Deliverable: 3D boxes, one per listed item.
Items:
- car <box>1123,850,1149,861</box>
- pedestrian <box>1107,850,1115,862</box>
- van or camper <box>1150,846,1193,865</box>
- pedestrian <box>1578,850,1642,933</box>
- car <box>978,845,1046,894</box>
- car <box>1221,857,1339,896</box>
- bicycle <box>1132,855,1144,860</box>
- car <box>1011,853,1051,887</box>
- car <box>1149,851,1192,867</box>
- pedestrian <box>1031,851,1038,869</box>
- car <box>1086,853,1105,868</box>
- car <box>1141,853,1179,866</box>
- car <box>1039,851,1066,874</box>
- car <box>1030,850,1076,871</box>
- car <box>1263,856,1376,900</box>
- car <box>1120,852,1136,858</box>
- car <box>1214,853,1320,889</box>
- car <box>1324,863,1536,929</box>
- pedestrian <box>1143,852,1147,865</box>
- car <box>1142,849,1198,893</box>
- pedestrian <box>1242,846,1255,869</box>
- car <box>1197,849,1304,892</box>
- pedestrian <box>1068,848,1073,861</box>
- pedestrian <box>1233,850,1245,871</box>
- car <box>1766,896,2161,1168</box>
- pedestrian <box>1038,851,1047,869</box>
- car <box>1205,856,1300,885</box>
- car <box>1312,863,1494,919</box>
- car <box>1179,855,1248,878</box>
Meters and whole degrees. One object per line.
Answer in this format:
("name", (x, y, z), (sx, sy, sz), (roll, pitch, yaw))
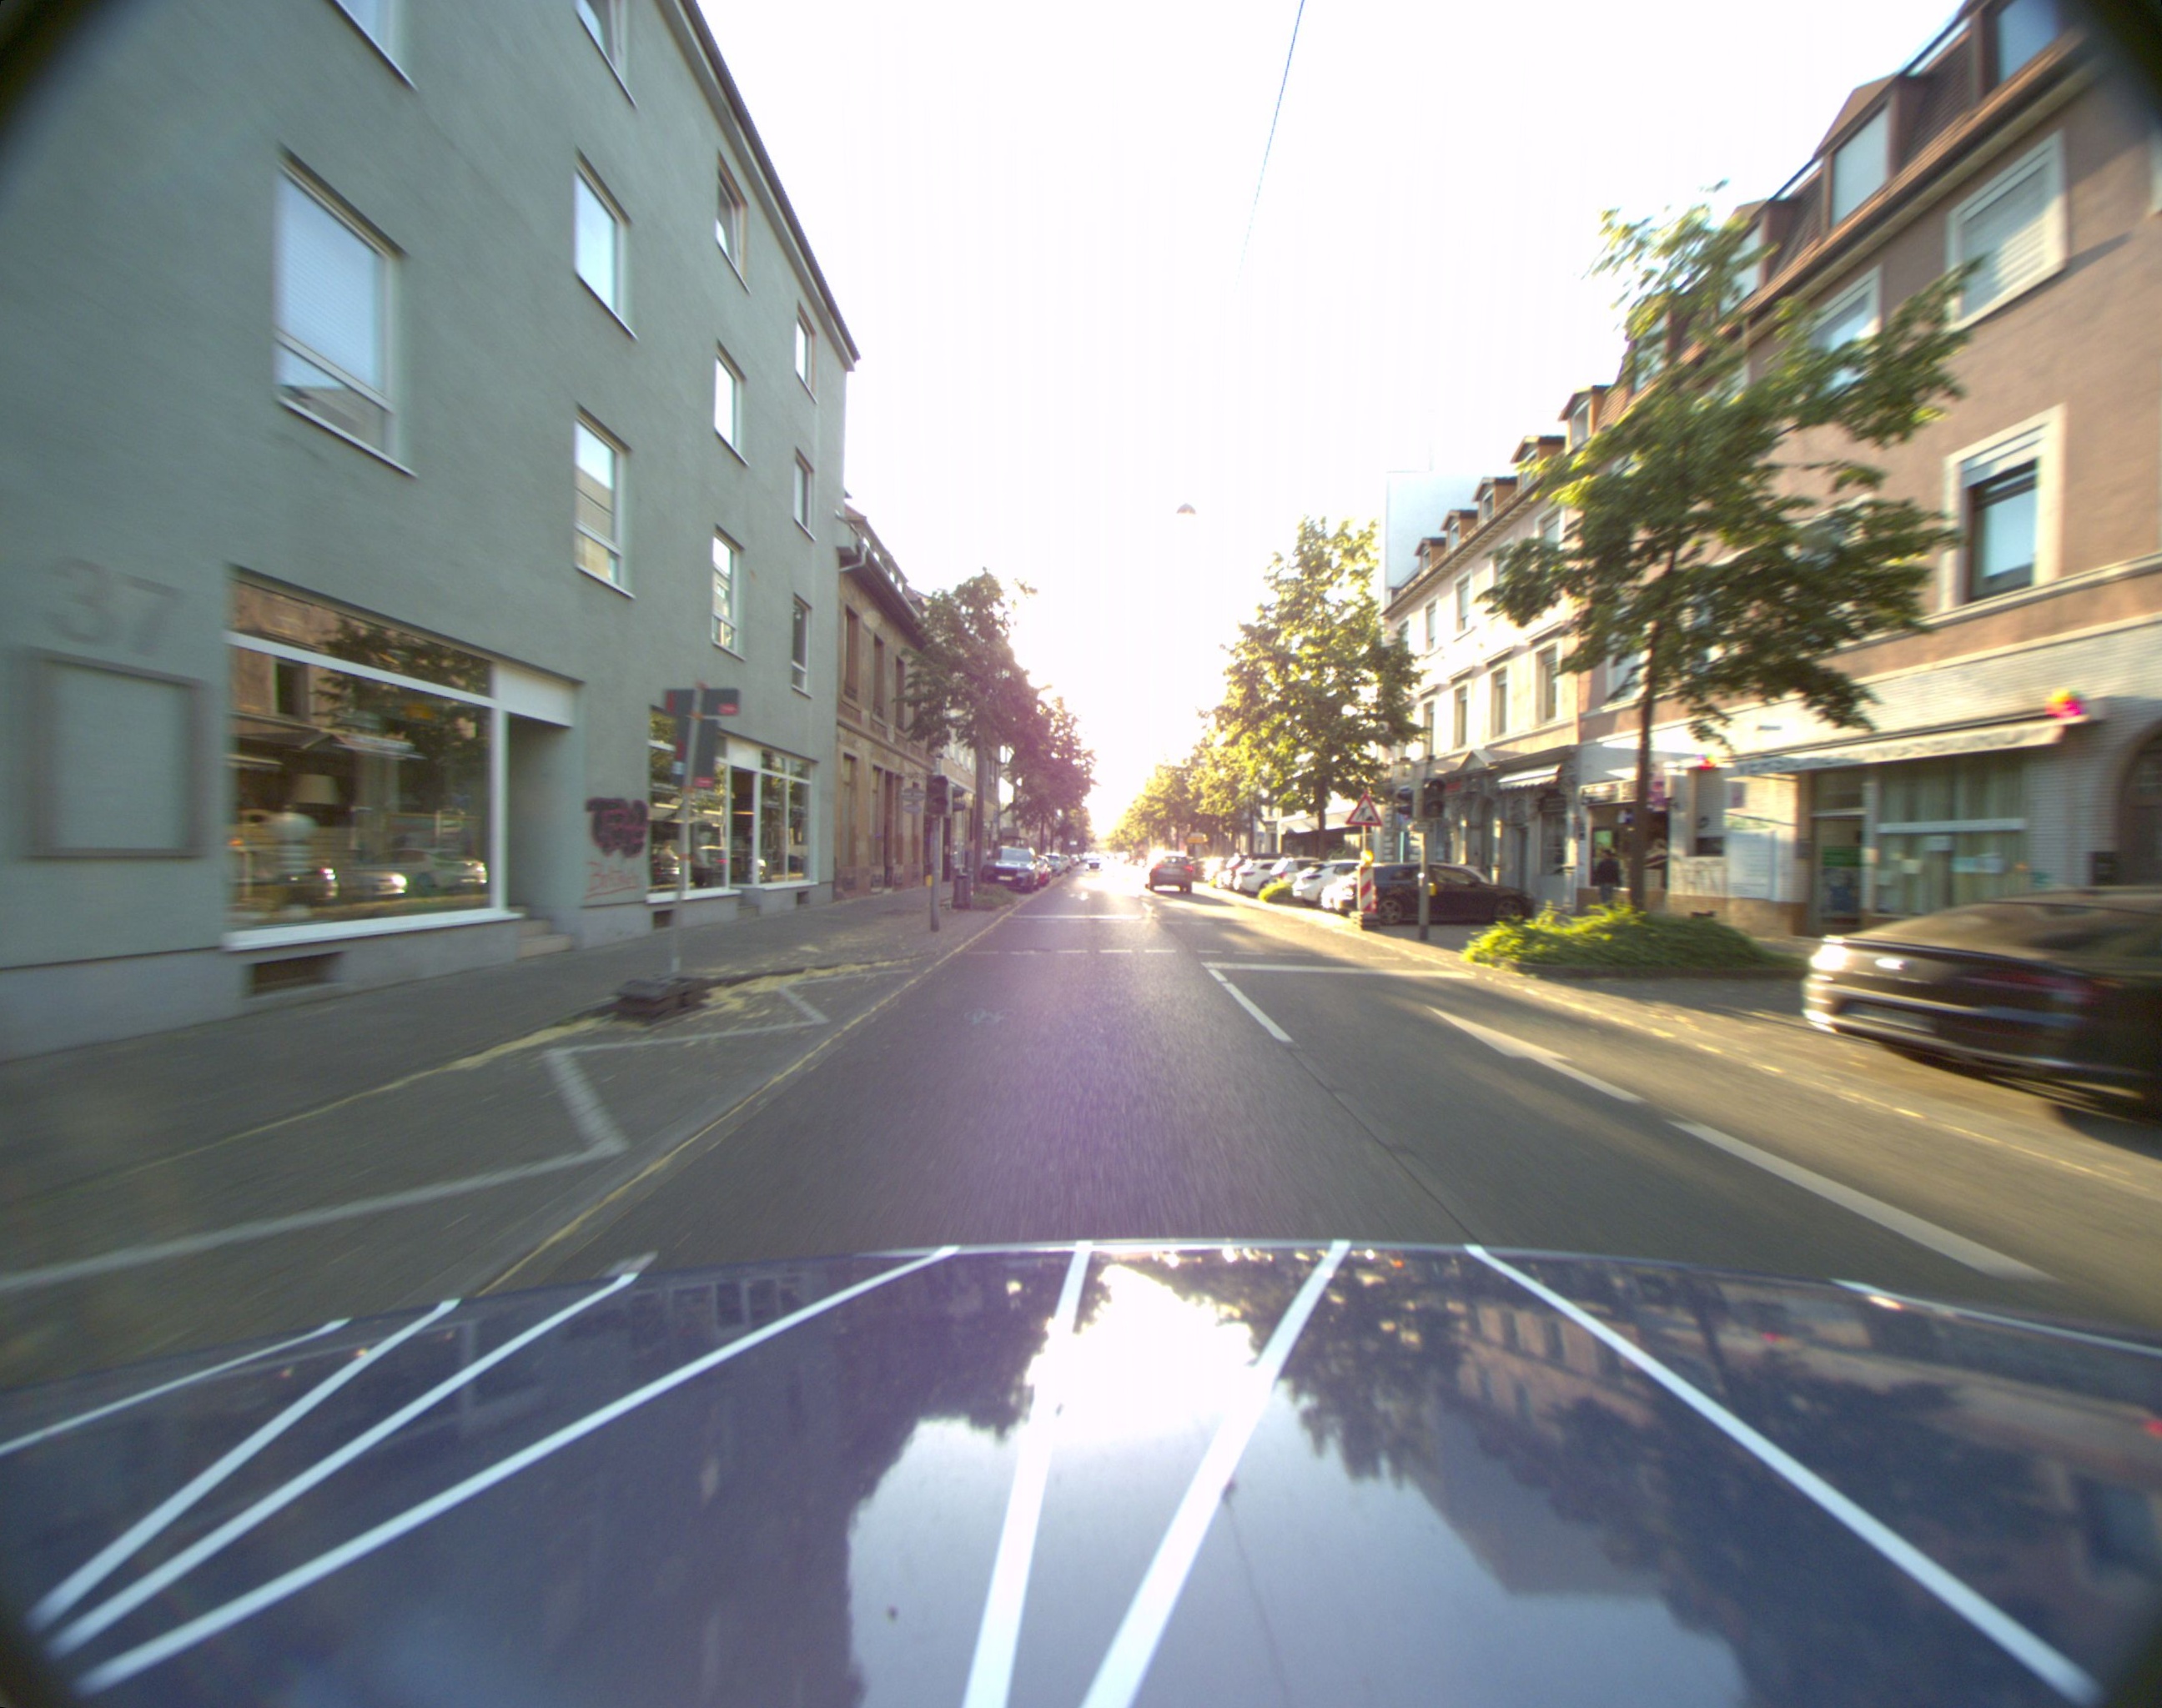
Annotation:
("car", (9.569, 0.244, 132.435), (4.439, 1.832, 1.814), (0, 0, 0))
("pedestrian", (4.413, 0.272, 112.346), (0.898, 1.671, 0.795), (0, 1, -36))
("van or camper", (9.601, 0.178, 80.999), (4.469, 1.945, 1.789), (0, 0, 2))
("pedestrian", (11.408, 0.796, 16.411), (0.774, 1.712, 0.875), (-1, 2, 1))
("car", (-2.655, 0.563, 30.241), (2.043, 1.727, 4.711), (3, 0, 2))
("car", (7.756, 0.863, 29.860), (4.160, 1.413, 1.766), (-1, 1, -1))
("bicycle", (8.687, 0.537, 116.366), (1.796, 0.761, 0.408), (0, 1, 13))
("car", (-2.380, 0.740, 37.196), (1.734, 1.479, 3.899), (3, 0, -2))
("car", (9.173, 0.514, 78.109), (4.192, 1.659, 1.732), (0, 1, 3))
("pedestrian", (-4.112, 0.538, 67.260), (0.607, 1.622, 0.668), (0, 1, 1))
("car", (1.434, 0.606, 75.797), (1.825, 1.469, 4.155), (0, 1, 2))
("car", (9.514, 0.667, 91.461), (4.439, 1.516, 1.814), (0, 0, 0))
("car", (-1.982, 0.615, 54.414), (1.695, 1.534, 3.553), (2, 0, 1))
("car", (-2.268, 0.553, 62.838), (1.661, 1.574, 3.632), (2, -1, 42))
("car", (8.582, 0.835, 27.517), (3.565, 1.493, 1.716), (-1, 1, 0))
("car", (11.805, 0.312, 191.514), (4.151, 1.469, 1.827), (0, 0, 2))
("car", (8.495, 0.762, 34.978), (4.417, 1.586, 1.890), (-1, 0, 0))
("car", (8.085, 0.955, 17.873), (4.117, 1.395, 1.884), (-1, 0, -1))
("pedestrian", (8.333, 0.553, 98.538), (0.550, 1.638, 0.721), (0, 1, 4))
("car", (3.778, 0.683, 32.871), (1.866, 1.682, 4.460), (3, 0, 1))
("pedestrian", (12.731, 0.259, 57.858), (0.721, 1.739, 0.934), (-2, 1, 1))
("car", (7.218, 0.689, 32.635), (4.160, 1.762, 1.889), (-1, 1, -1))
("pedestrian", (-1.132, 0.059, 82.986), (0.448, 1.472, 0.547), (2, 1, 2))
("pedestrian", (12.035, 0.483, 57.911), (0.721, 1.593, 1.094), (-2, 1, 1))
("car", (7.805, 1.052, 5.221), (4.582, 1.399, 1.821), (-1, 0, 0))
("pedestrian", (-3.394, 0.523, 67.059), (0.748, 1.622, 0.856), (0, 1, 1))
("car", (8.813, 0.854, 39.303), (4.559, 1.475, 1.744), (0, 0, 1))
("car", (8.527, 0.950, 20.403), (4.107, 1.395, 1.843), (0, 1, 3))
("car", (8.693, 0.815, 50.184), (4.285, 1.475, 1.744), (0, 0, 1))
